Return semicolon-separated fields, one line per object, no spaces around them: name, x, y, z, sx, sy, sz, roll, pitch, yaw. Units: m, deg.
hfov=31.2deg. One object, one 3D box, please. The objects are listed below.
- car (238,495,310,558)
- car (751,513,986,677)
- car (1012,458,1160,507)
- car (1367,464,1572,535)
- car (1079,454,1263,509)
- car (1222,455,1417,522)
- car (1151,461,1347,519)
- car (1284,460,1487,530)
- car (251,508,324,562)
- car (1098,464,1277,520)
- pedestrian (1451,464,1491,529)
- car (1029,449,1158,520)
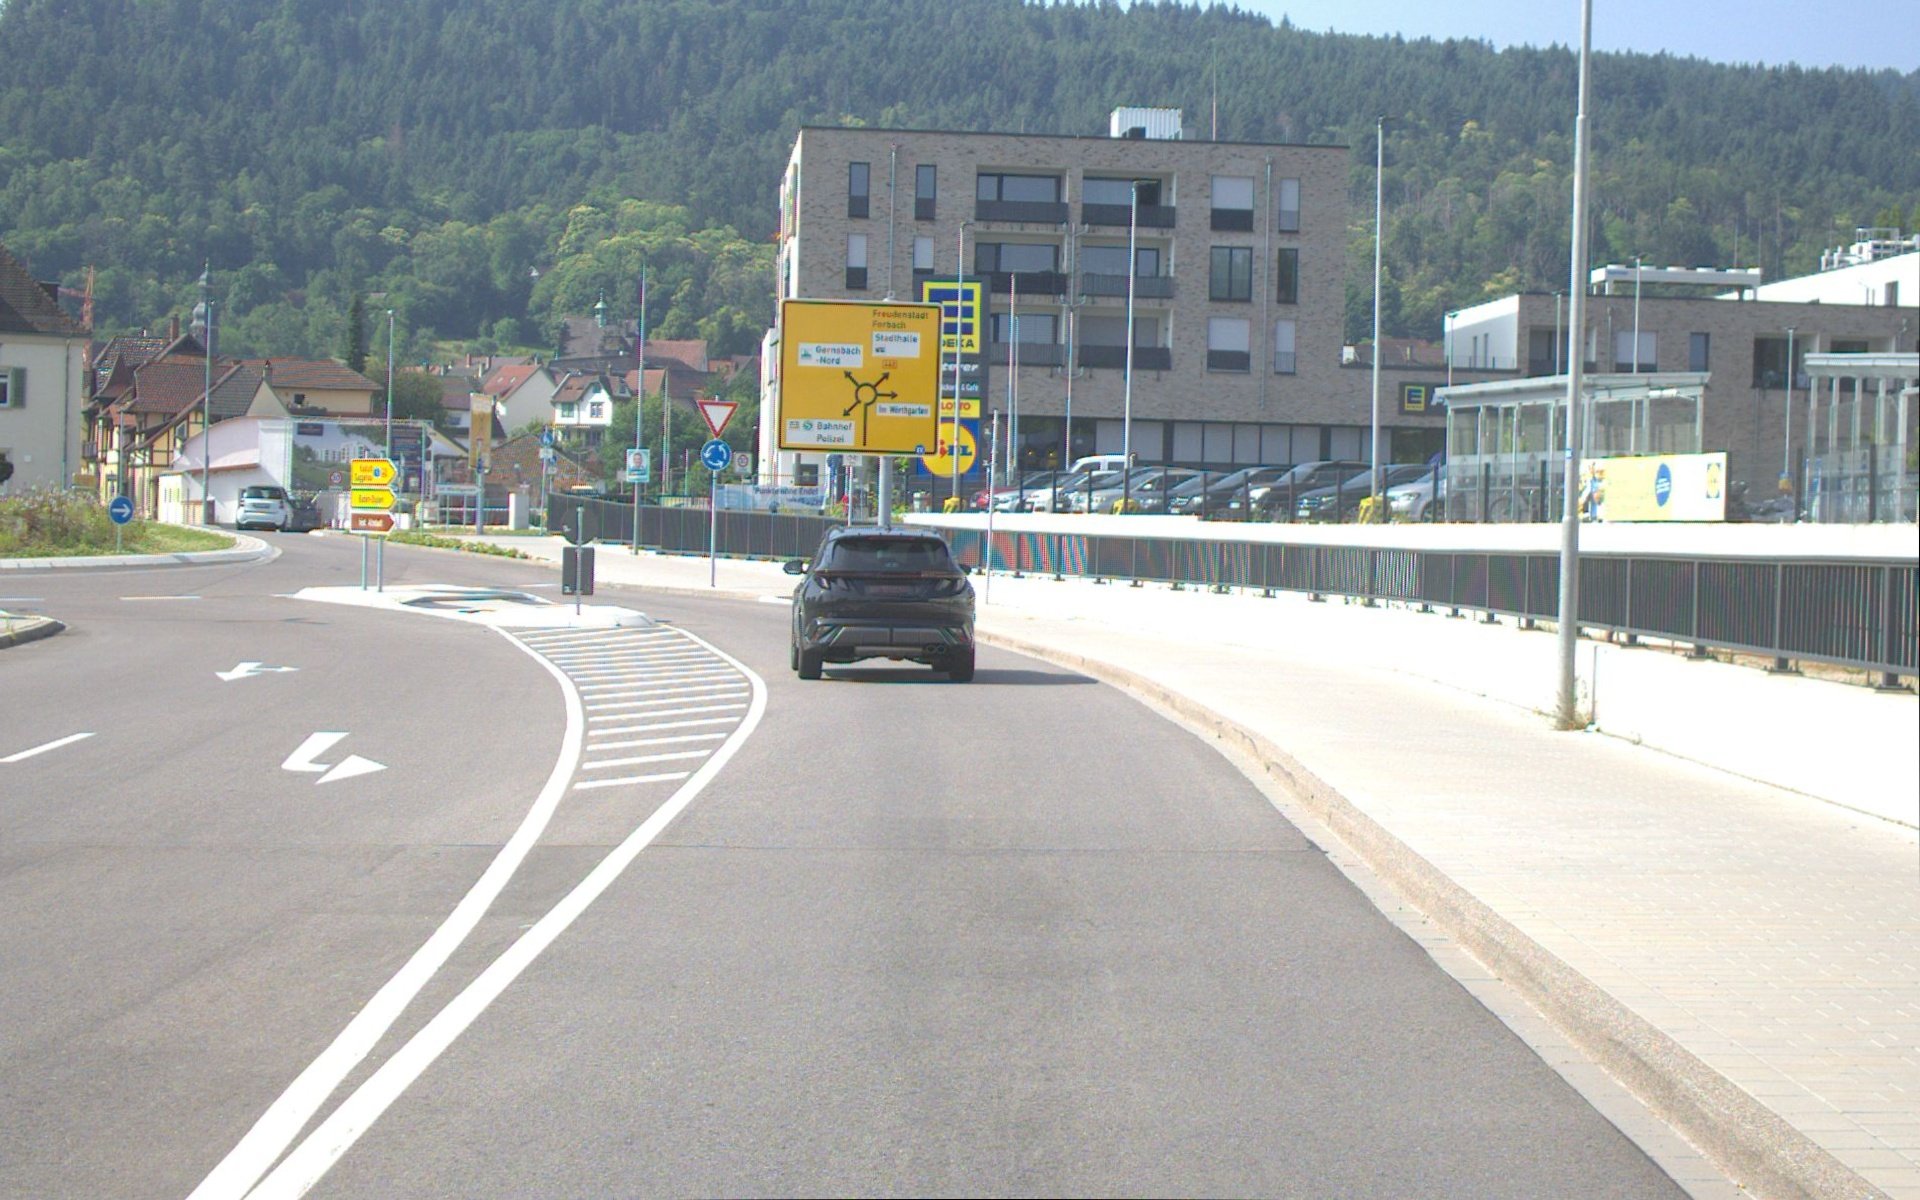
car;-22.741;-2.433;114.065;1.993;2.007;4.001;1;1;-6
car;-1.060;-0.083;37.552;1.880;1.678;4.001;0;1;-12
car;3.357;-3.152;92.008;3.554;1.195;1.715;1;2;-18
car;10.540;-2.079;71.108;3.804;1.359;1.681;1;2;-19
car;5.316;-2.989;86.595;4.277;1.241;1.665;1;2;-19
car;8.143;-2.523;77.898;4.004;1.399;1.726;1;2;-19
car;6.813;-2.600;81.058;4.212;1.241;1.745;1;2;-19
car;9.169;-2.265;74.167;4.060;1.399;1.486;1;2;-19
car;-25.573;-2.474;130.704;1.993;2.007;4.001;0;1;-22
car;5.552;-2.633;83.948;3.965;1.241;1.730;1;2;-19
pedestrian;10.366;-2.097;69.731;0.547;1.307;0.657;1;1;-17
car;4.189;-3.611;107.829;3.987;2.128;2.000;1;1;3
